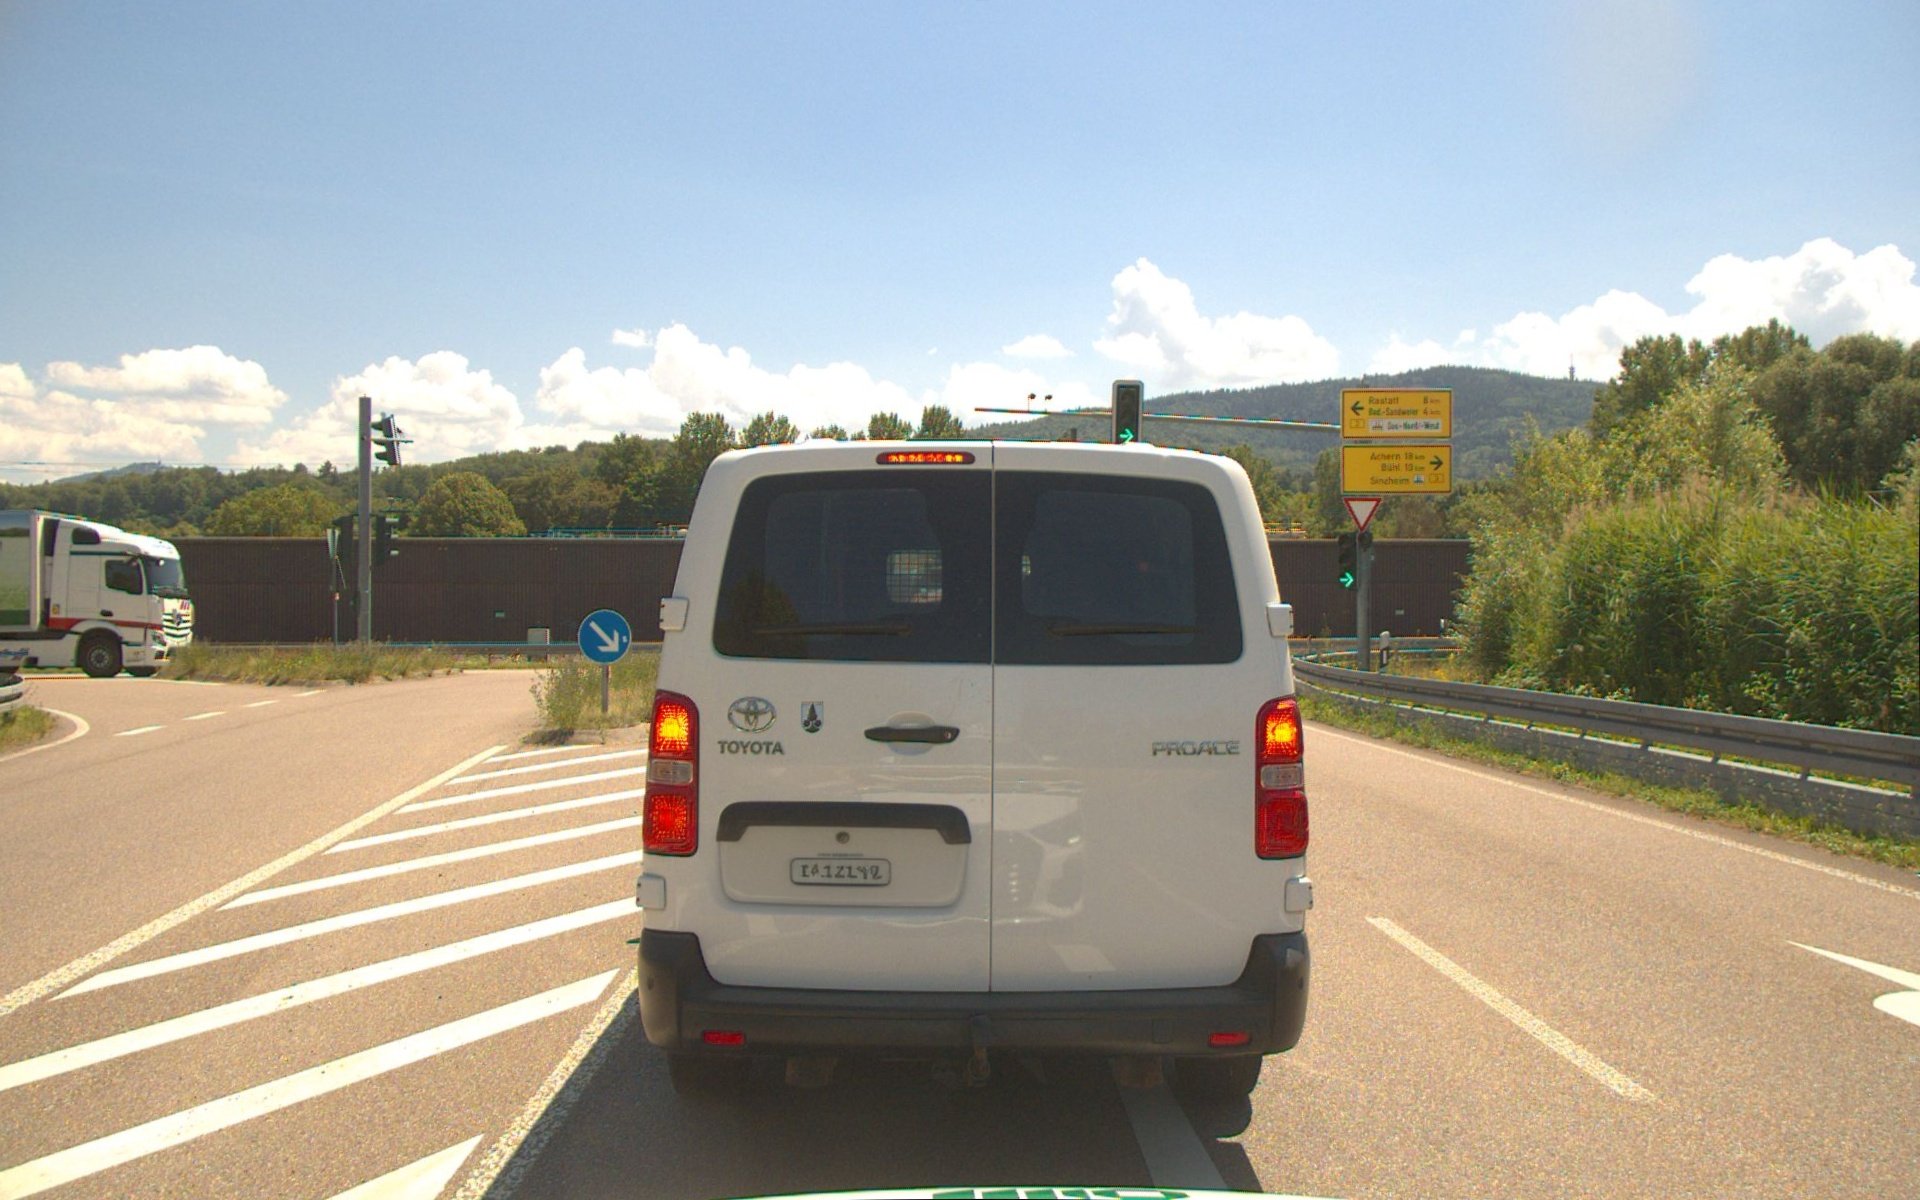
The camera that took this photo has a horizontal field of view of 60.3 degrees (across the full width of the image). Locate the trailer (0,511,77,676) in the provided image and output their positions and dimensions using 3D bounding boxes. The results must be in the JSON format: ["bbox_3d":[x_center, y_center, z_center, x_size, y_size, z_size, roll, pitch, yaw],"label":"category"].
[{"bbox_3d":[-29.512,-0.176,41.461,12.877,4.024,3.060,0,-1,-3],"label":"trailer"}]

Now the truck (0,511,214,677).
[{"bbox_3d":[-22.384,-0.138,41.798,5.649,4.024,3.061,0,-1,-3],"label":"truck"}]

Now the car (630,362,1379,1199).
[{"bbox_3d":[0.081,0.476,5.936,1.778,2.053,3.999,0,0,-1],"label":"car"}]
